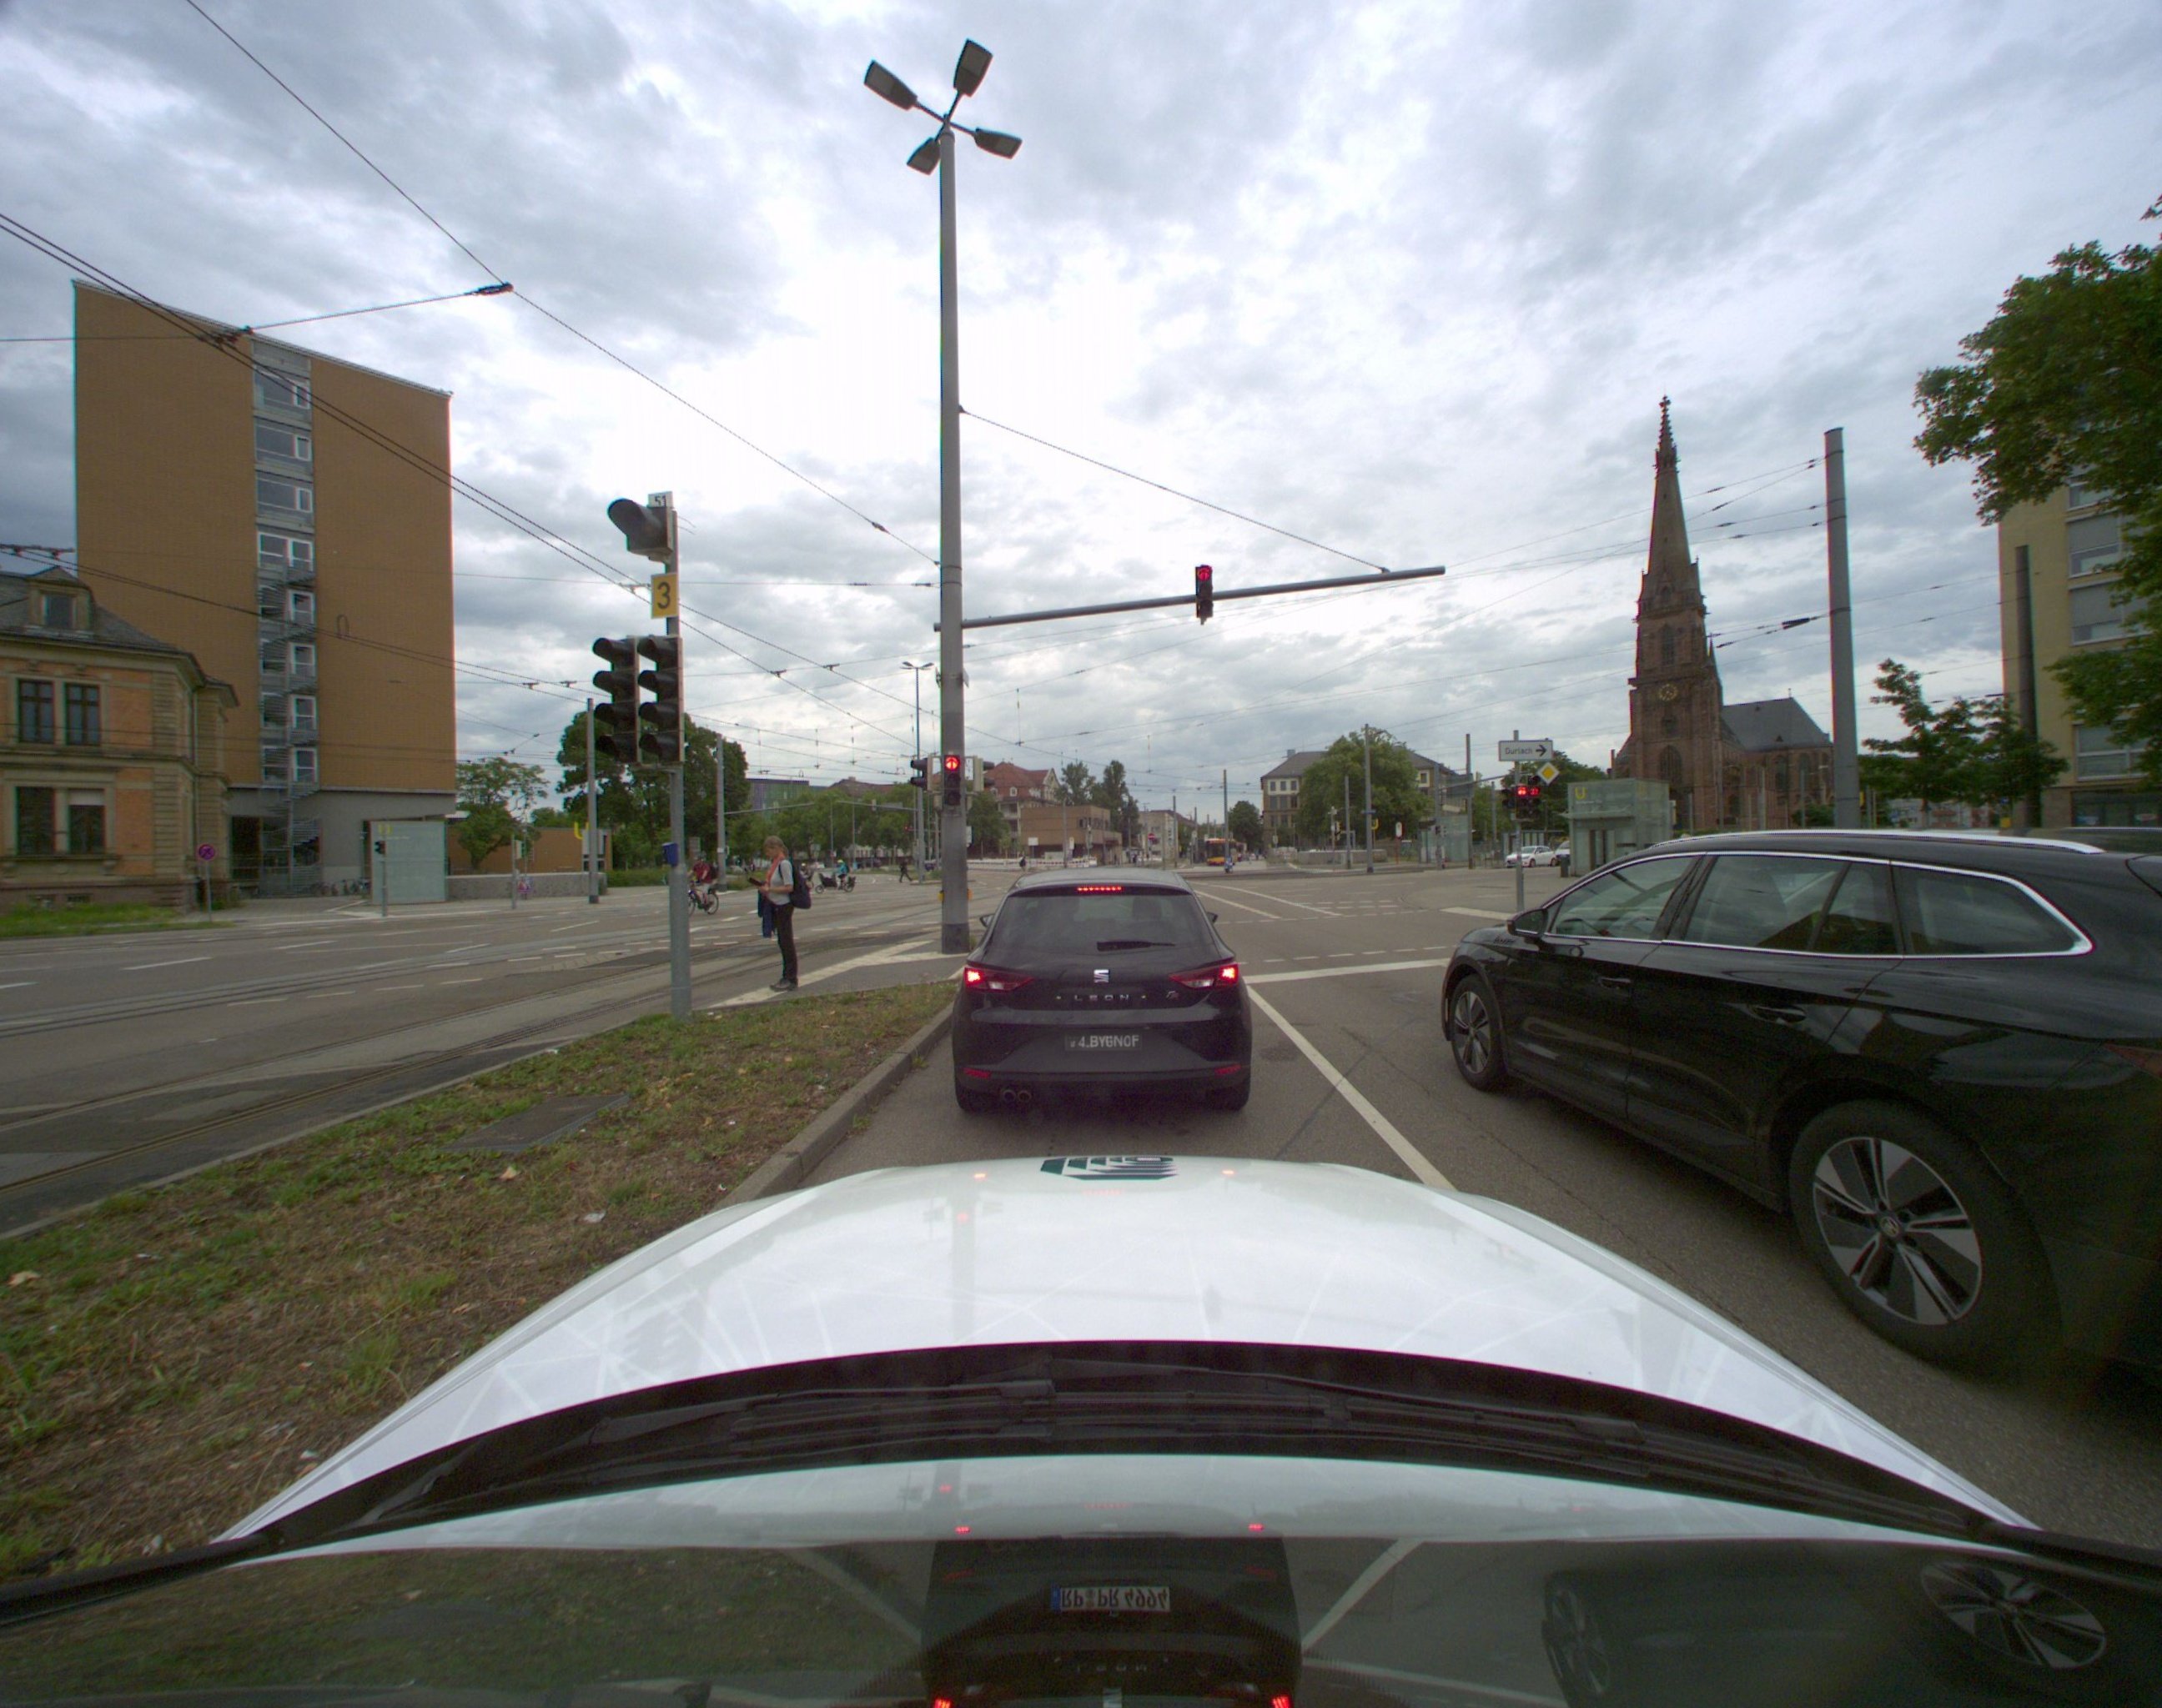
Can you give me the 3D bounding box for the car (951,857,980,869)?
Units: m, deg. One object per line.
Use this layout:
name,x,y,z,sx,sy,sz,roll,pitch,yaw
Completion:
car,-17.592,1.360,123.658,3.970,1.684,2.001,-2,-1,3

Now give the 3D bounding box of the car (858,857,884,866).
car,-36.503,1.368,141.490,3.951,1.464,1.792,-2,0,24

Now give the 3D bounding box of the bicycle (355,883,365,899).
bicycle,-50.239,2.595,56.721,0.484,1.049,1.411,-1,0,-41

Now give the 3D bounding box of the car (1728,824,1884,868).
car,37.659,-0.394,42.516,5.672,2.014,2.038,-2,-2,19

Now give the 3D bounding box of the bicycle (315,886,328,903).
bicycle,-51.640,2.774,55.361,0.575,1.106,1.411,-1,0,-41

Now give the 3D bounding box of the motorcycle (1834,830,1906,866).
motorcycle,26.952,-0.211,27.811,2.386,1.168,0.762,-1,0,-19

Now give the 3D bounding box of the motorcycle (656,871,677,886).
motorcycle,-35.445,2.082,69.600,1.481,1.268,0.505,-1,0,-44

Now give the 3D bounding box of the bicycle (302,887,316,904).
bicycle,-52.086,2.773,54.956,0.575,1.106,1.411,-1,0,-41

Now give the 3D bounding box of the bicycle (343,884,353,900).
bicycle,-50.652,2.625,56.282,0.512,1.049,1.411,-1,0,-41

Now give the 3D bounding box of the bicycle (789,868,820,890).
bicycle,-17.463,1.573,51.524,0.637,1.321,1.746,-2,0,44

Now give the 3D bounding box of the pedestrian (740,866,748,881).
pedestrian,-43.941,2.534,106.197,0.879,1.981,0.793,-1,-2,-11

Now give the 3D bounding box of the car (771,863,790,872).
car,-53.505,2.392,144.952,1.792,1.464,3.950,-1,0,-45

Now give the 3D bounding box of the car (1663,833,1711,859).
car,49.708,-0.635,66.753,4.017,2.013,1.978,-1,0,-36

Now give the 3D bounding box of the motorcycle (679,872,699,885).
motorcycle,-34.417,2.167,71.504,0.506,1.111,1.751,-2,0,15

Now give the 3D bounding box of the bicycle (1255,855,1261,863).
bicycle,27.265,0.787,125.306,0.859,1.104,2.310,-1,0,14

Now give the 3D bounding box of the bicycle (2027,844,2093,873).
bicycle,31.508,0.140,26.230,0.596,0.917,1.253,-1,0,-28

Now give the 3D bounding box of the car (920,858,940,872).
car,-19.568,1.380,105.422,2.000,1.684,3.973,-1,-1,-20

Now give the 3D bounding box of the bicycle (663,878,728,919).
bicycle,-12.072,1.377,25.578,0.770,1.184,2.038,-2,0,11

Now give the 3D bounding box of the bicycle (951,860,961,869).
bicycle,-16.864,1.470,110.193,0.895,1.178,2.287,-1,0,-20

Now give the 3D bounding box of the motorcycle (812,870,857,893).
motorcycle,-13.006,1.444,43.029,2.149,1.139,0.737,-1,0,-31

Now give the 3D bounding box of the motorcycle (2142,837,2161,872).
motorcycle,31.752,-0.002,23.727,1.021,0.997,0.863,-1,0,-45

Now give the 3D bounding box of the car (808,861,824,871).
car,-50.836,2.332,156.282,1.724,1.772,3.955,-1,0,-37

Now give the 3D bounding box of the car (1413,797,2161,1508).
car,3.324,0.652,3.770,1.771,1.597,4.510,-1,0,1

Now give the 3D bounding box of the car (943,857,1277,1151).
car,0.091,0.773,6.107,1.700,1.449,3.809,-1,0,-2

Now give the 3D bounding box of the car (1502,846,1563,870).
car,30.401,0.268,54.815,4.011,1.464,1.758,-1,-2,-30

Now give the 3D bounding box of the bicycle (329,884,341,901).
bicycle,-51.156,2.634,55.838,0.575,1.106,1.411,-1,0,-41

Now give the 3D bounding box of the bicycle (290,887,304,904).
bicycle,-52.536,2.787,54.551,0.575,1.106,1.411,-1,0,-41

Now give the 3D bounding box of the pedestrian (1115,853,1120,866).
pedestrian,5.087,0.777,114.086,0.618,1.918,0.711,-2,0,5

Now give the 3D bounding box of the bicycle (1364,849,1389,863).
bicycle,29.659,0.182,81.725,2.248,1.331,0.709,-2,-2,9

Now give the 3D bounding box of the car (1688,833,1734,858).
car,53.571,-0.727,69.190,4.017,2.013,1.978,-1,0,-36

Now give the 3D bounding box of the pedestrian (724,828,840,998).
pedestrian,-3.585,0.667,9.773,1.110,1.907,0.727,0,-1,-41
